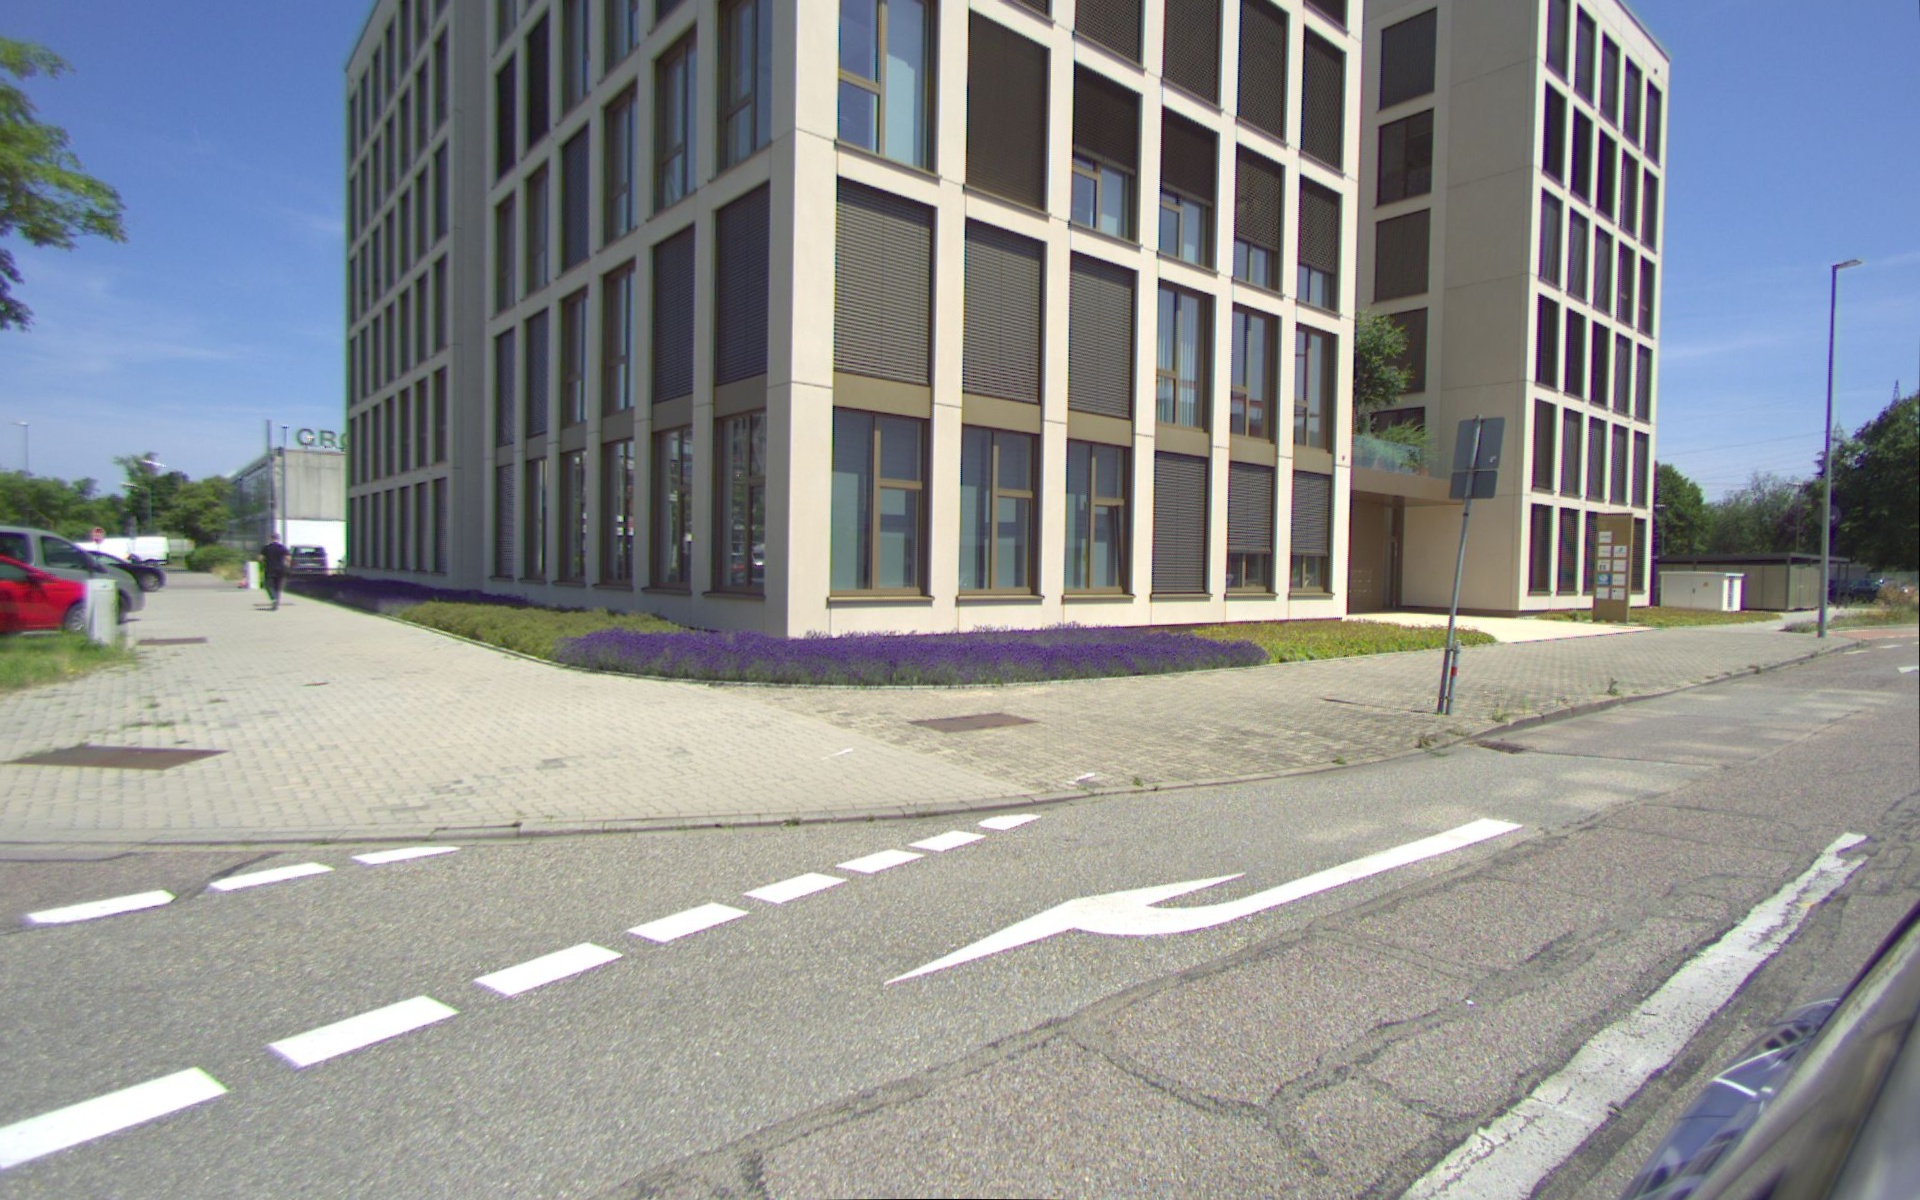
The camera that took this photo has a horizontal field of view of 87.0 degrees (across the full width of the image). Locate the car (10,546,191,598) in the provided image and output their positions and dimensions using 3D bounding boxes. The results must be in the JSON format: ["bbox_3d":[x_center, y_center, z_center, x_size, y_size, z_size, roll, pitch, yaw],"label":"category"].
[{"bbox_3d":[-27.883,-0.961,33.003,1.792,1.557,4.131,0,3,19],"label":"car"}]

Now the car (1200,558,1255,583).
[{"bbox_3d":[21.095,-2.331,79.836,3.921,1.874,2.002,0,2,-31],"label":"car"}]

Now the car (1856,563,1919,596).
[{"bbox_3d":[59.212,-1.295,63.546,3.958,1.977,1.984,2,2,25],"label":"car"}]

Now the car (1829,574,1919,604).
[{"bbox_3d":[55.691,-0.717,61.523,3.960,1.682,1.822,2,3,26],"label":"car"}]

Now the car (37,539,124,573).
[{"bbox_3d":[-54.956,-2.721,63.339,3.925,2.038,2.000,0,2,-36],"label":"car"}]

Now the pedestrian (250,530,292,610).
[{"bbox_3d":[-16.492,-0.725,24.229,0.758,1.867,0.869,-1,3,-32],"label":"pedestrian"}]

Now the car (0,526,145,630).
[{"bbox_3d":[-17.760,-0.411,18.314,1.676,1.838,4.899,0,2,7],"label":"car"}]

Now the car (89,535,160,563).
[{"bbox_3d":[-67.520,-4.083,81.877,4.280,2.146,2.094,0,2,-37],"label":"car"}]

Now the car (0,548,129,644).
[{"bbox_3d":[-15.382,-0.082,15.576,1.584,1.452,3.991,1,2,9],"label":"car"}]

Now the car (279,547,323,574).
[{"bbox_3d":[-37.921,-2.281,58.232,1.758,1.540,3.574,-1,3,-39],"label":"car"}]
